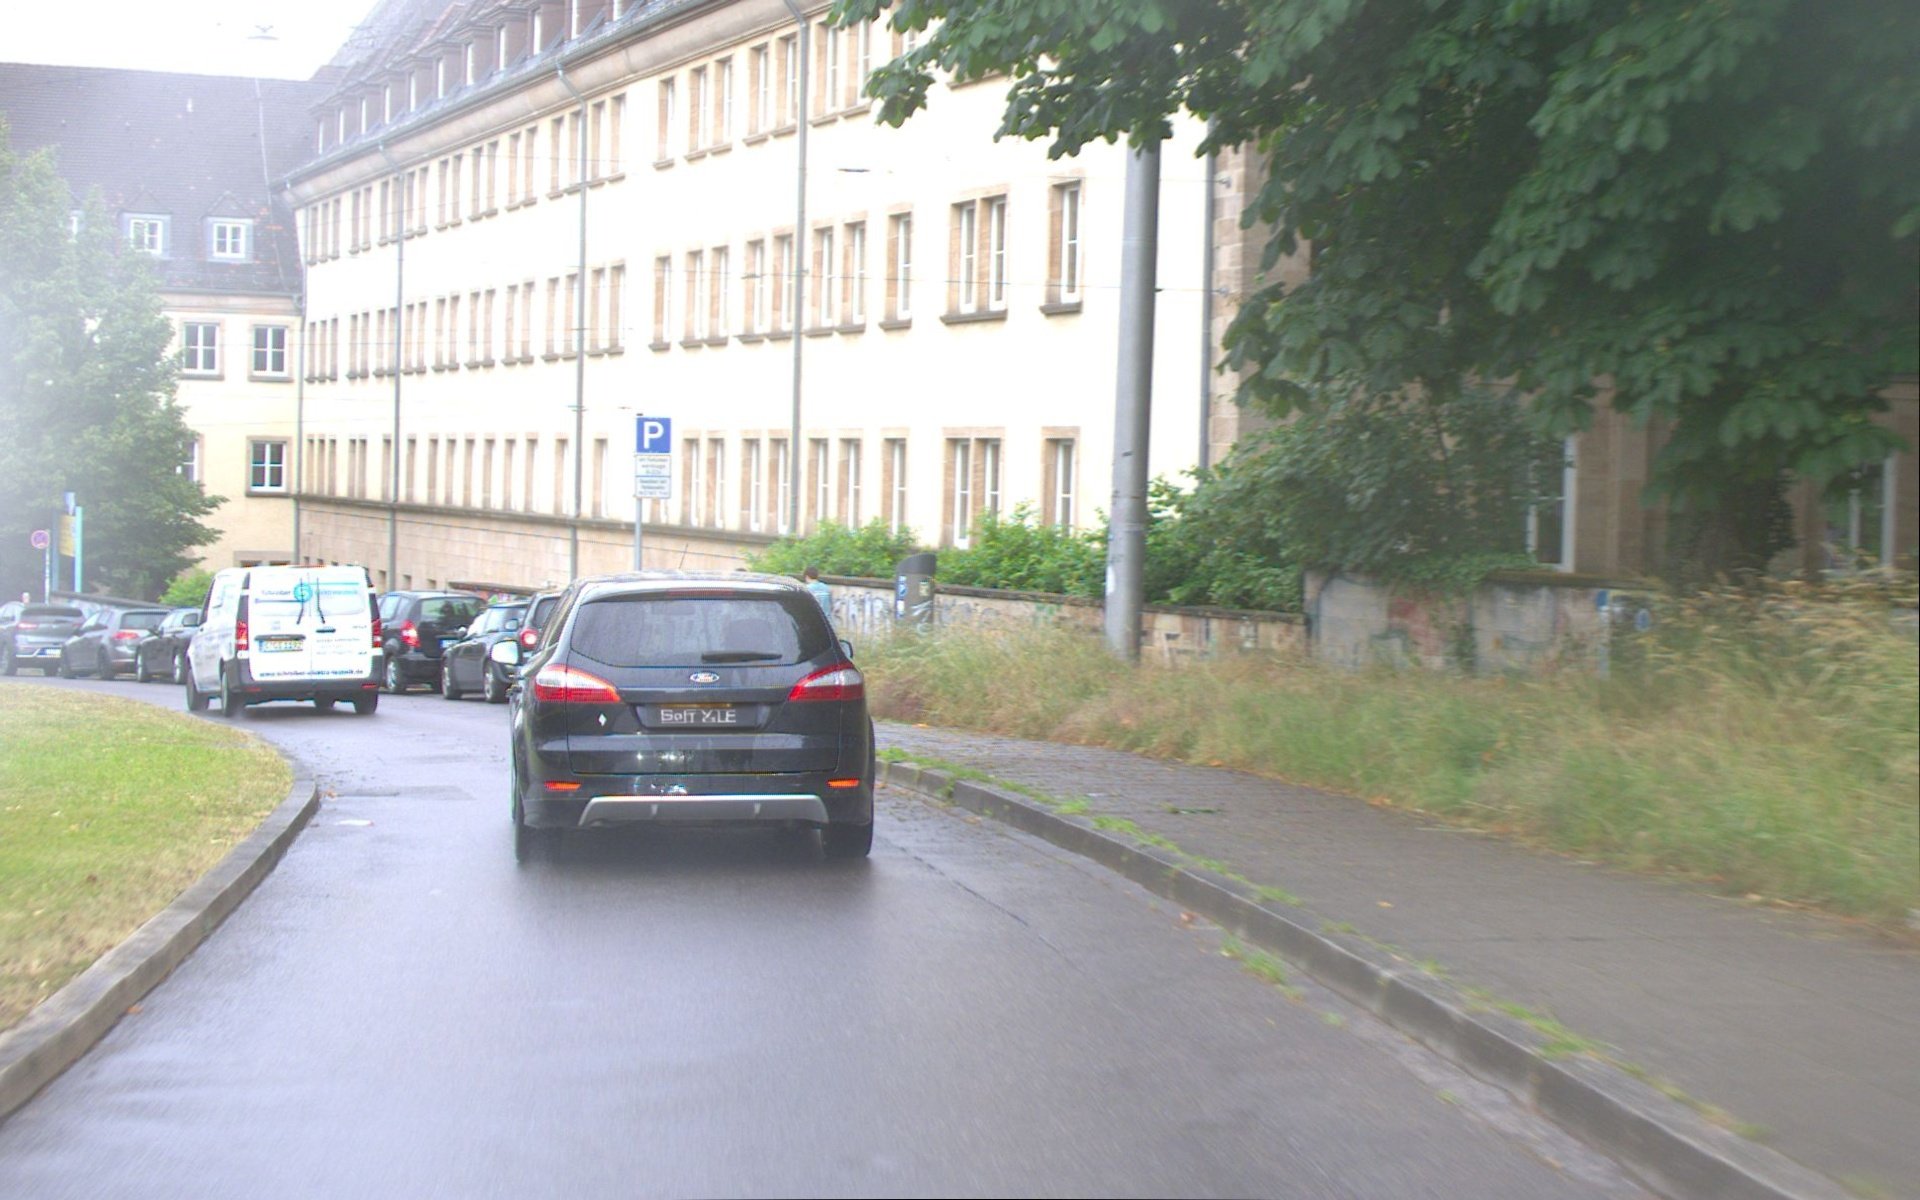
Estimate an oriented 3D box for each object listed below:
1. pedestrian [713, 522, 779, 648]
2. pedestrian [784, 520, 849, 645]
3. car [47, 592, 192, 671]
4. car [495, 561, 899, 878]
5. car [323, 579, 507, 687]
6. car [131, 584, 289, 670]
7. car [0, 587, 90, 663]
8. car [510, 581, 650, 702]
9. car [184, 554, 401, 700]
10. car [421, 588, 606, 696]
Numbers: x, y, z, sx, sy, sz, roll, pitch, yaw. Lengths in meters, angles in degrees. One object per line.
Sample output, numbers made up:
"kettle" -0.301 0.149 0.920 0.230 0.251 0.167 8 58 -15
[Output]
"pedestrian" -3.013 -0.211 48.348 0.717 1.748 0.739 -1 0 -19
"pedestrian" -2.037 -0.245 48.691 0.717 1.748 0.739 -1 0 -19
"car" -16.637 0.599 67.925 1.665 1.471 4.109 -2 1 -30
"car" -1.505 0.546 18.440 1.919 1.474 4.001 -1 1 -7
"car" -8.452 0.487 53.120 1.665 1.567 3.856 -2 1 -27
"car" -13.721 0.460 62.737 1.665 1.471 4.458 -2 1 -28
"car" -19.831 0.514 73.040 1.665 1.519 4.109 -2 1 -28
"car" -4.920 0.509 44.275 1.597 1.460 2.721 -1 1 -10
"car" -8.535 0.294 43.680 2.136 1.739 4.219 -1 1 -19
"car" -6.271 0.554 48.025 1.535 1.411 3.644 -2 1 -24
